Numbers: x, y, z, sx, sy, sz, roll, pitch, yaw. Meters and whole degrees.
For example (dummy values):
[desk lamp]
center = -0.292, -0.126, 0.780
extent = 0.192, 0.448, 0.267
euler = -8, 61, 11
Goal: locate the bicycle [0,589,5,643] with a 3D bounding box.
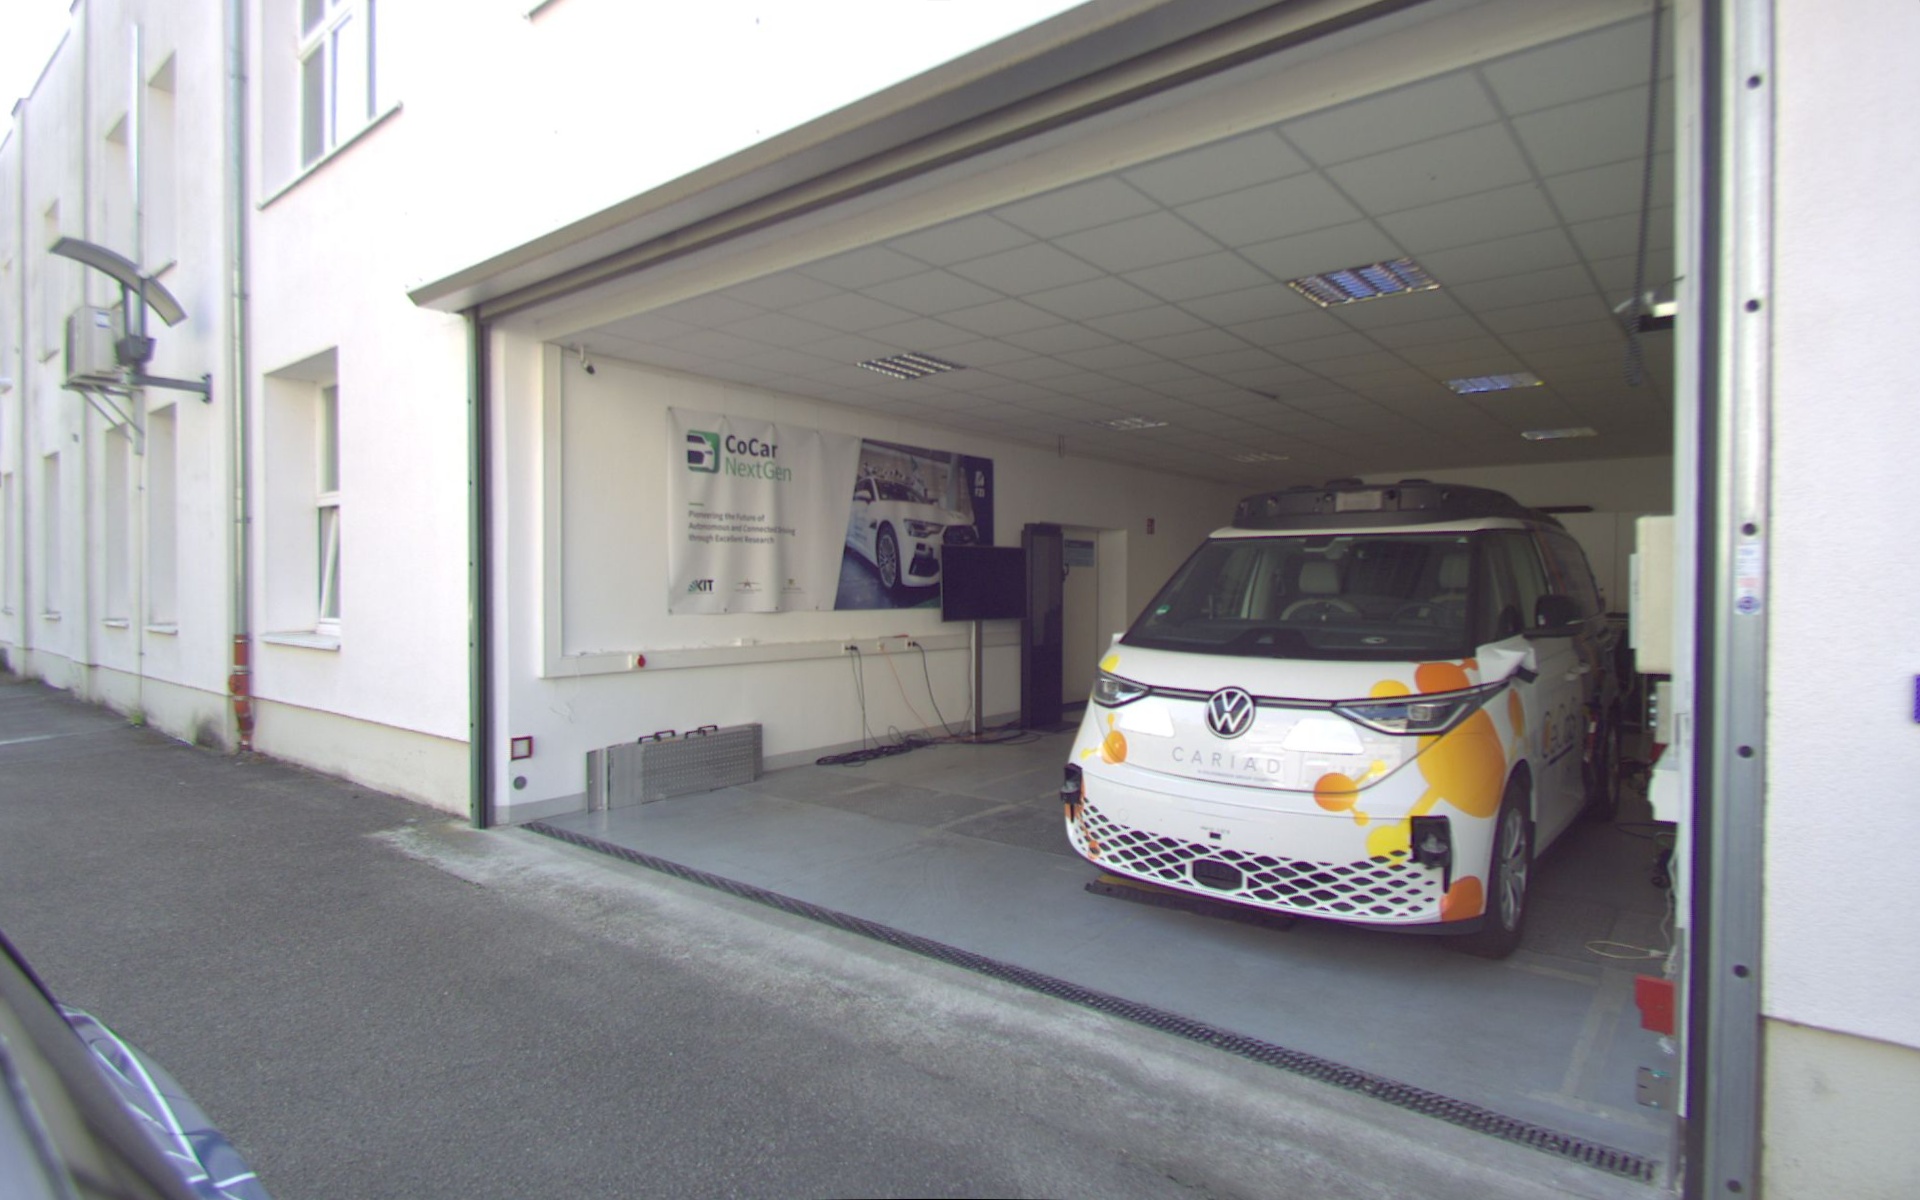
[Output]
[bicycle]
center = -22.666, 0.351, 23.462
extent = 2.006, 1.222, 0.471
euler = 2, 2, 38

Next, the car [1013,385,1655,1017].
[car]
center = 2.517, 0.248, 5.839
extent = 2.054, 2.108, 4.700
euler = 2, 3, 39
